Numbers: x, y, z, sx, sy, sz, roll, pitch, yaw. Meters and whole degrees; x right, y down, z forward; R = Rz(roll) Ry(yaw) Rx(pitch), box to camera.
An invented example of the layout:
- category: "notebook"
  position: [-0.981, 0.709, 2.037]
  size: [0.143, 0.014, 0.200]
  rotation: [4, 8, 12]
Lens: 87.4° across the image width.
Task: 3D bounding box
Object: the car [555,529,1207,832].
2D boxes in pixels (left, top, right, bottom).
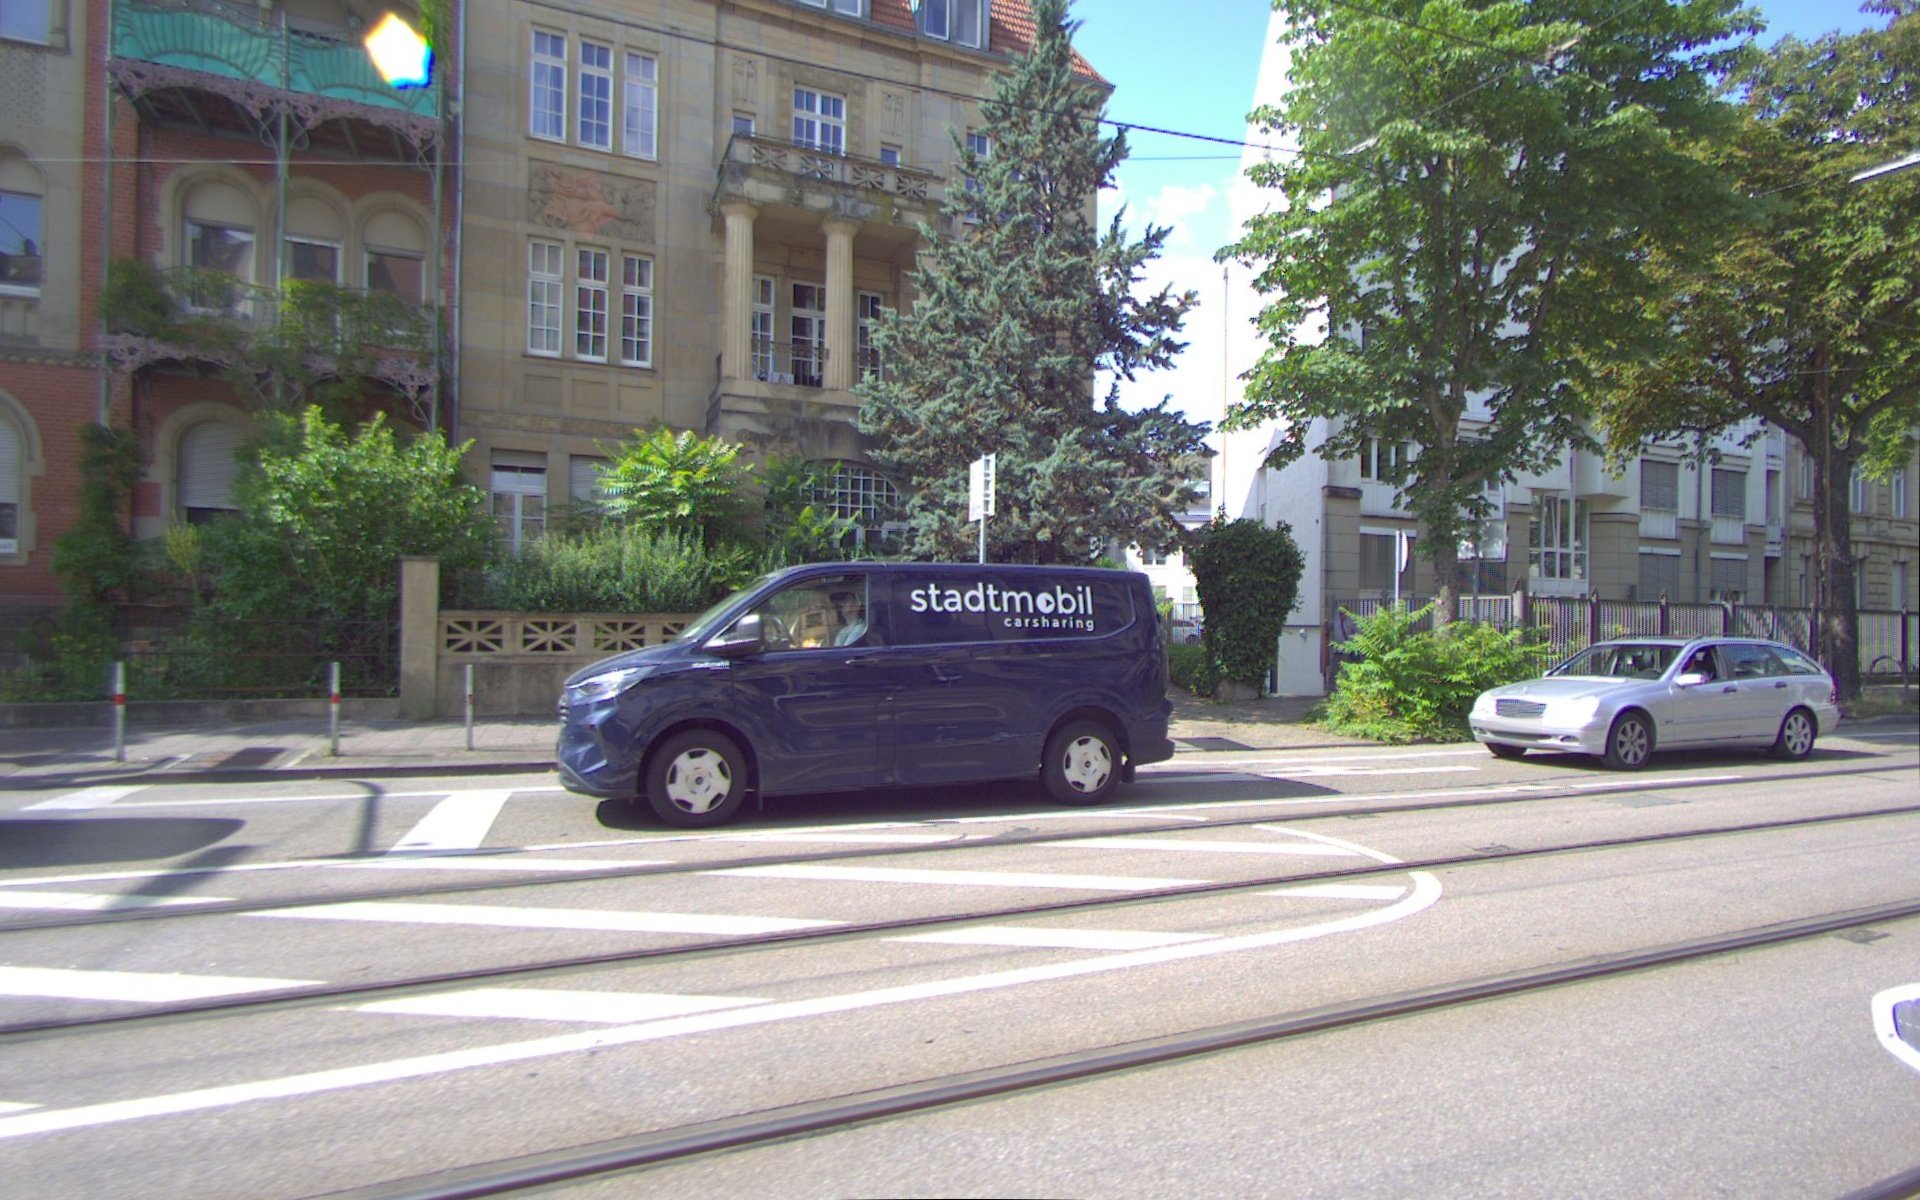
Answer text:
- category: "car"
  position: [-0.609, 0.629, 8.337]
  size: [5.051, 1.942, 1.923]
  rotation: [2, -3, -23]

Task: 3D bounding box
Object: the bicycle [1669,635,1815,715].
- category: "bicycle"
  position: [14.512, 1.365, 18.711]
  size: [2.018, 1.326, 0.620]
  rotation: [2, 1, 26]

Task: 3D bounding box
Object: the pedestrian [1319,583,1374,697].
- category: "pedestrian"
  position: [7.143, 0.723, 18.574]
  size: [0.789, 2.040, 0.485]
  rotation: [2, 1, 9]

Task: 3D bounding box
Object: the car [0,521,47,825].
- category: "car"
  position: [-8.537, 0.424, 5.319]
  size: [5.015, 2.021, 1.990]
  rotation: [1, -3, -23]

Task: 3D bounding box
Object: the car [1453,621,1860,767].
- category: "car"
  position: [8.219, 1.041, 11.885]
  size: [4.412, 1.499, 1.691]
  rotation: [1, -2, -19]
